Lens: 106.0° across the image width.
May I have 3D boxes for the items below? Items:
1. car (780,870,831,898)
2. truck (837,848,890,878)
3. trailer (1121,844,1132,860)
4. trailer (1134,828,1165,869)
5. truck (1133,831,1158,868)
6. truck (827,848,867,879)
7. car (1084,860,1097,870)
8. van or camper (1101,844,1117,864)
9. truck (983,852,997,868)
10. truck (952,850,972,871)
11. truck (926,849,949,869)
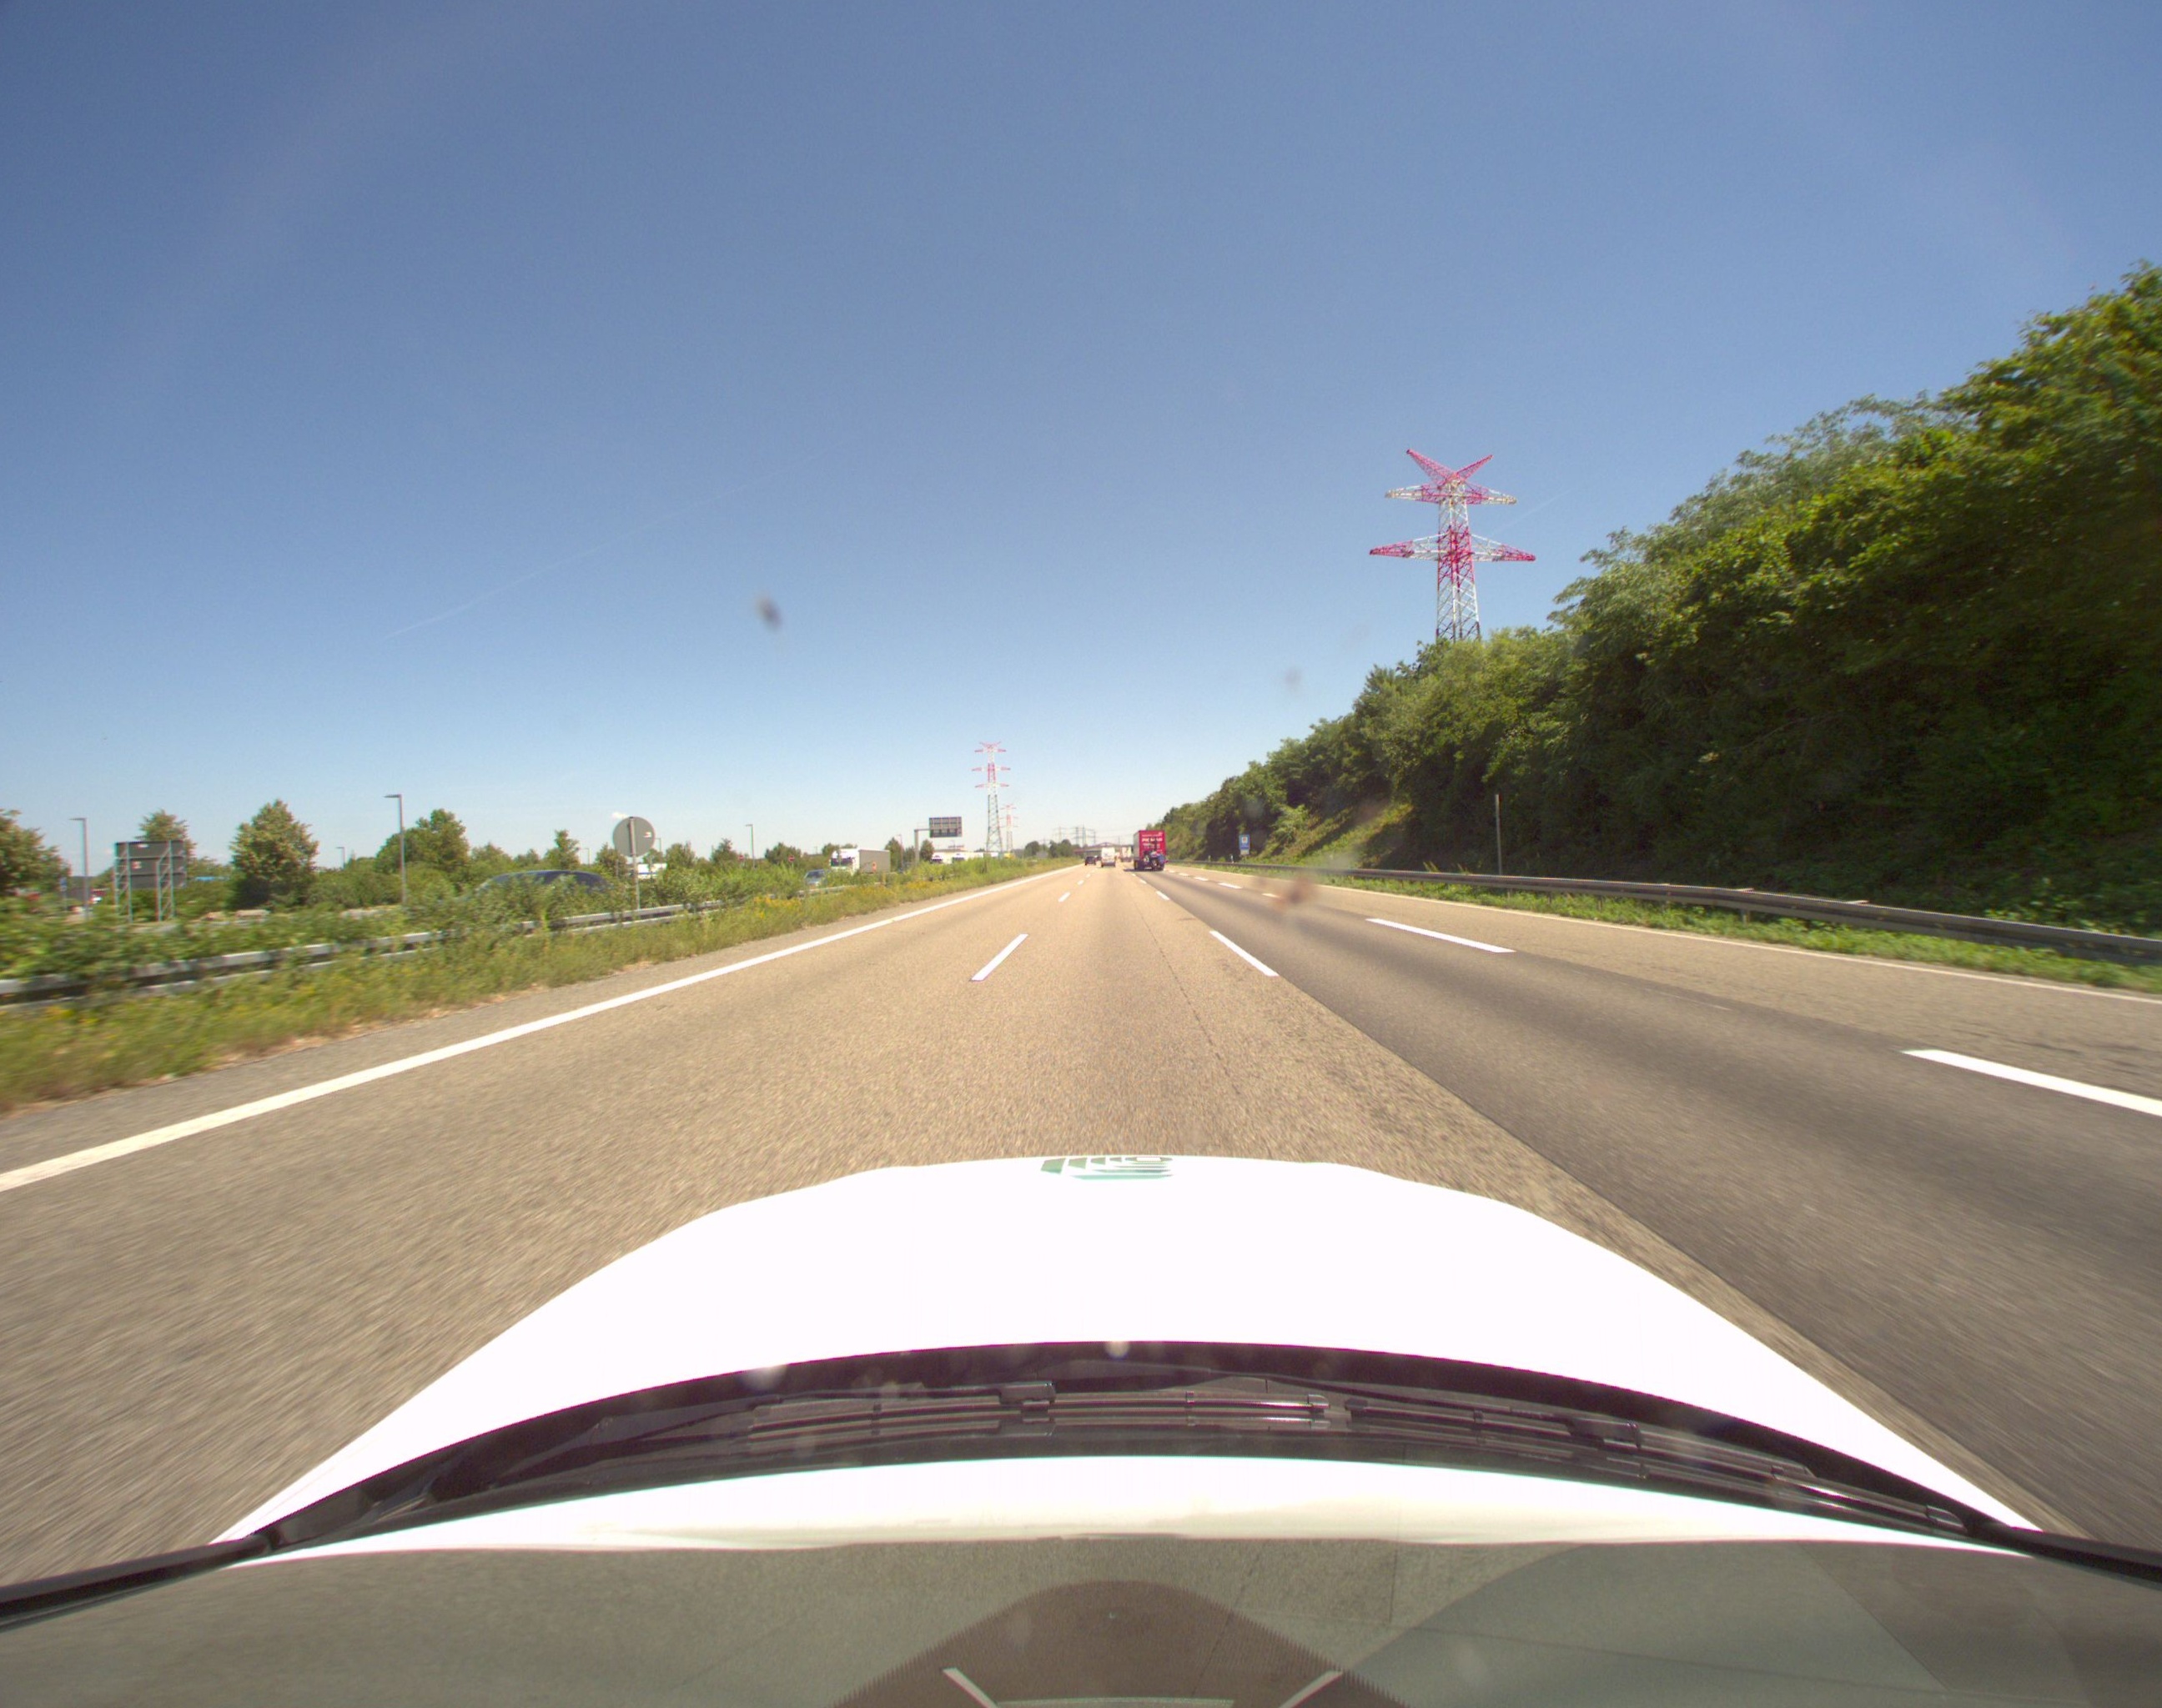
[{"bbox_3d":[-16.090,1.717,47.698,1.537,1.424,3.852,-3,0,0],"label":"car"},{"bbox_3d":[-28.033,1.108,105.848,2.788,3.643,13.612,0,0,2],"label":"truck"},{"bbox_3d":[11.946,-0.350,213.438,2.626,4.060,12.376,0,0,3],"label":"trailer"},{"bbox_3d":[6.942,-0.472,84.469,2.481,3.909,14.252,-1,0,2],"label":"trailer"},{"bbox_3d":[7.198,-0.431,91.507,2.489,3.920,7.100,-1,0,2],"label":"truck"},{"bbox_3d":[-28.294,1.082,98.707,2.788,3.643,6.149,0,0,2],"label":"truck"},{"bbox_3d":[1.725,1.918,145.728,1.973,1.817,3.817,0,0,4],"label":"car"},{"bbox_3d":[4.001,-0.007,115.413,2.221,2.782,5.426,0,0,2],"label":"van or camper"},{"bbox_3d":[-23.739,1.482,212.437,2.839,4.073,7.091,0,0,1],"label":"truck"},{"bbox_3d":[-24.167,1.338,165.743,2.571,4.188,7.939,-1,0,2],"label":"truck"},{"bbox_3d":[-30.615,1.124,173.921,3.083,4.152,8.320,0,0,2],"label":"truck"}]
